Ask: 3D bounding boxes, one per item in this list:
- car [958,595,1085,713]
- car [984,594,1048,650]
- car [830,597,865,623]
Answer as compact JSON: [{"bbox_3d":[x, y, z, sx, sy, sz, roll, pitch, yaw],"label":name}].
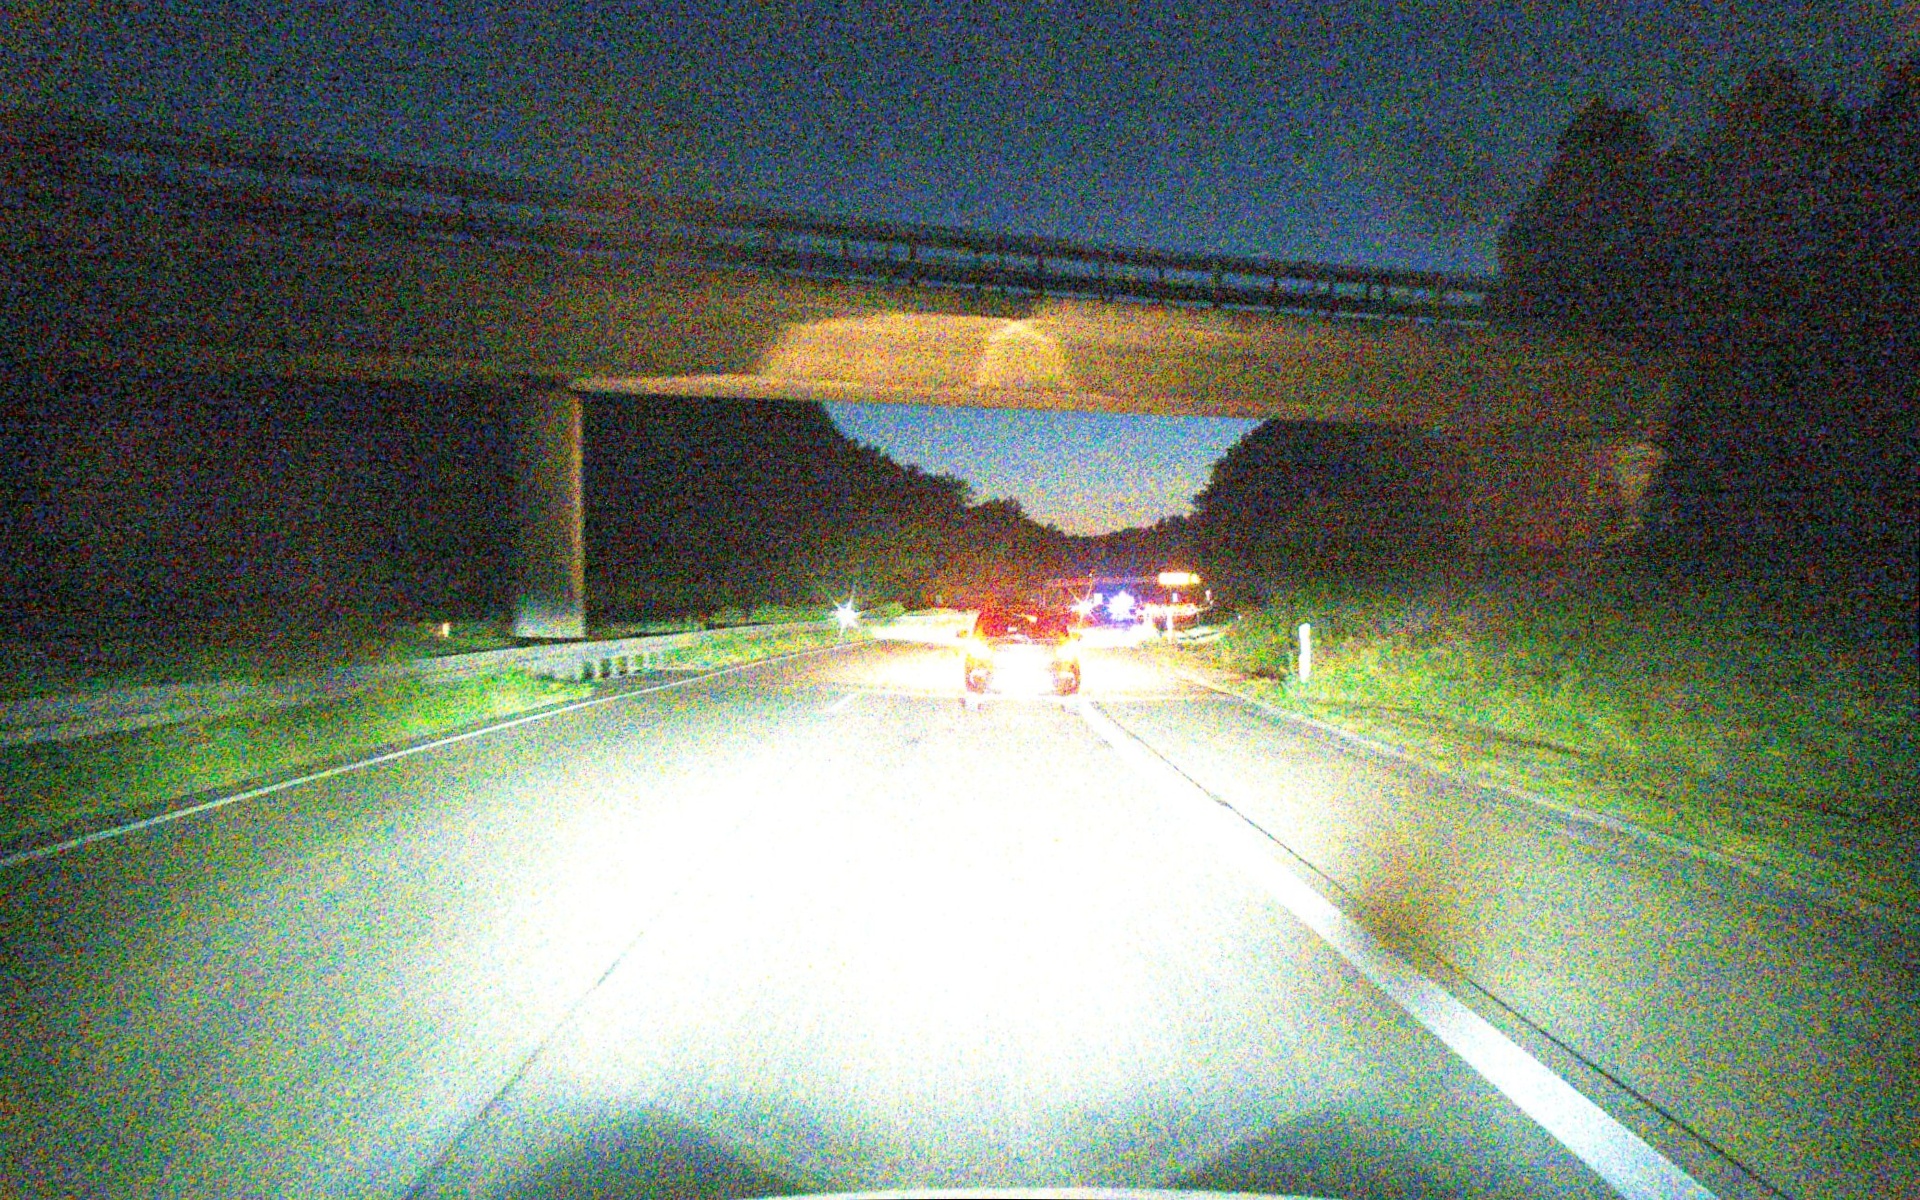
[{"bbox_3d":[0.817,0.717,23.949,1.556,1.534,3.999,1,0,-2],"label":"car"},{"bbox_3d":[1.828,0.676,52.927,1.866,1.728,4.002,0,0,4],"label":"car"},{"bbox_3d":[-7.487,0.705,110.664,1.952,1.686,4.535,0,-1,1],"label":"car"}]
